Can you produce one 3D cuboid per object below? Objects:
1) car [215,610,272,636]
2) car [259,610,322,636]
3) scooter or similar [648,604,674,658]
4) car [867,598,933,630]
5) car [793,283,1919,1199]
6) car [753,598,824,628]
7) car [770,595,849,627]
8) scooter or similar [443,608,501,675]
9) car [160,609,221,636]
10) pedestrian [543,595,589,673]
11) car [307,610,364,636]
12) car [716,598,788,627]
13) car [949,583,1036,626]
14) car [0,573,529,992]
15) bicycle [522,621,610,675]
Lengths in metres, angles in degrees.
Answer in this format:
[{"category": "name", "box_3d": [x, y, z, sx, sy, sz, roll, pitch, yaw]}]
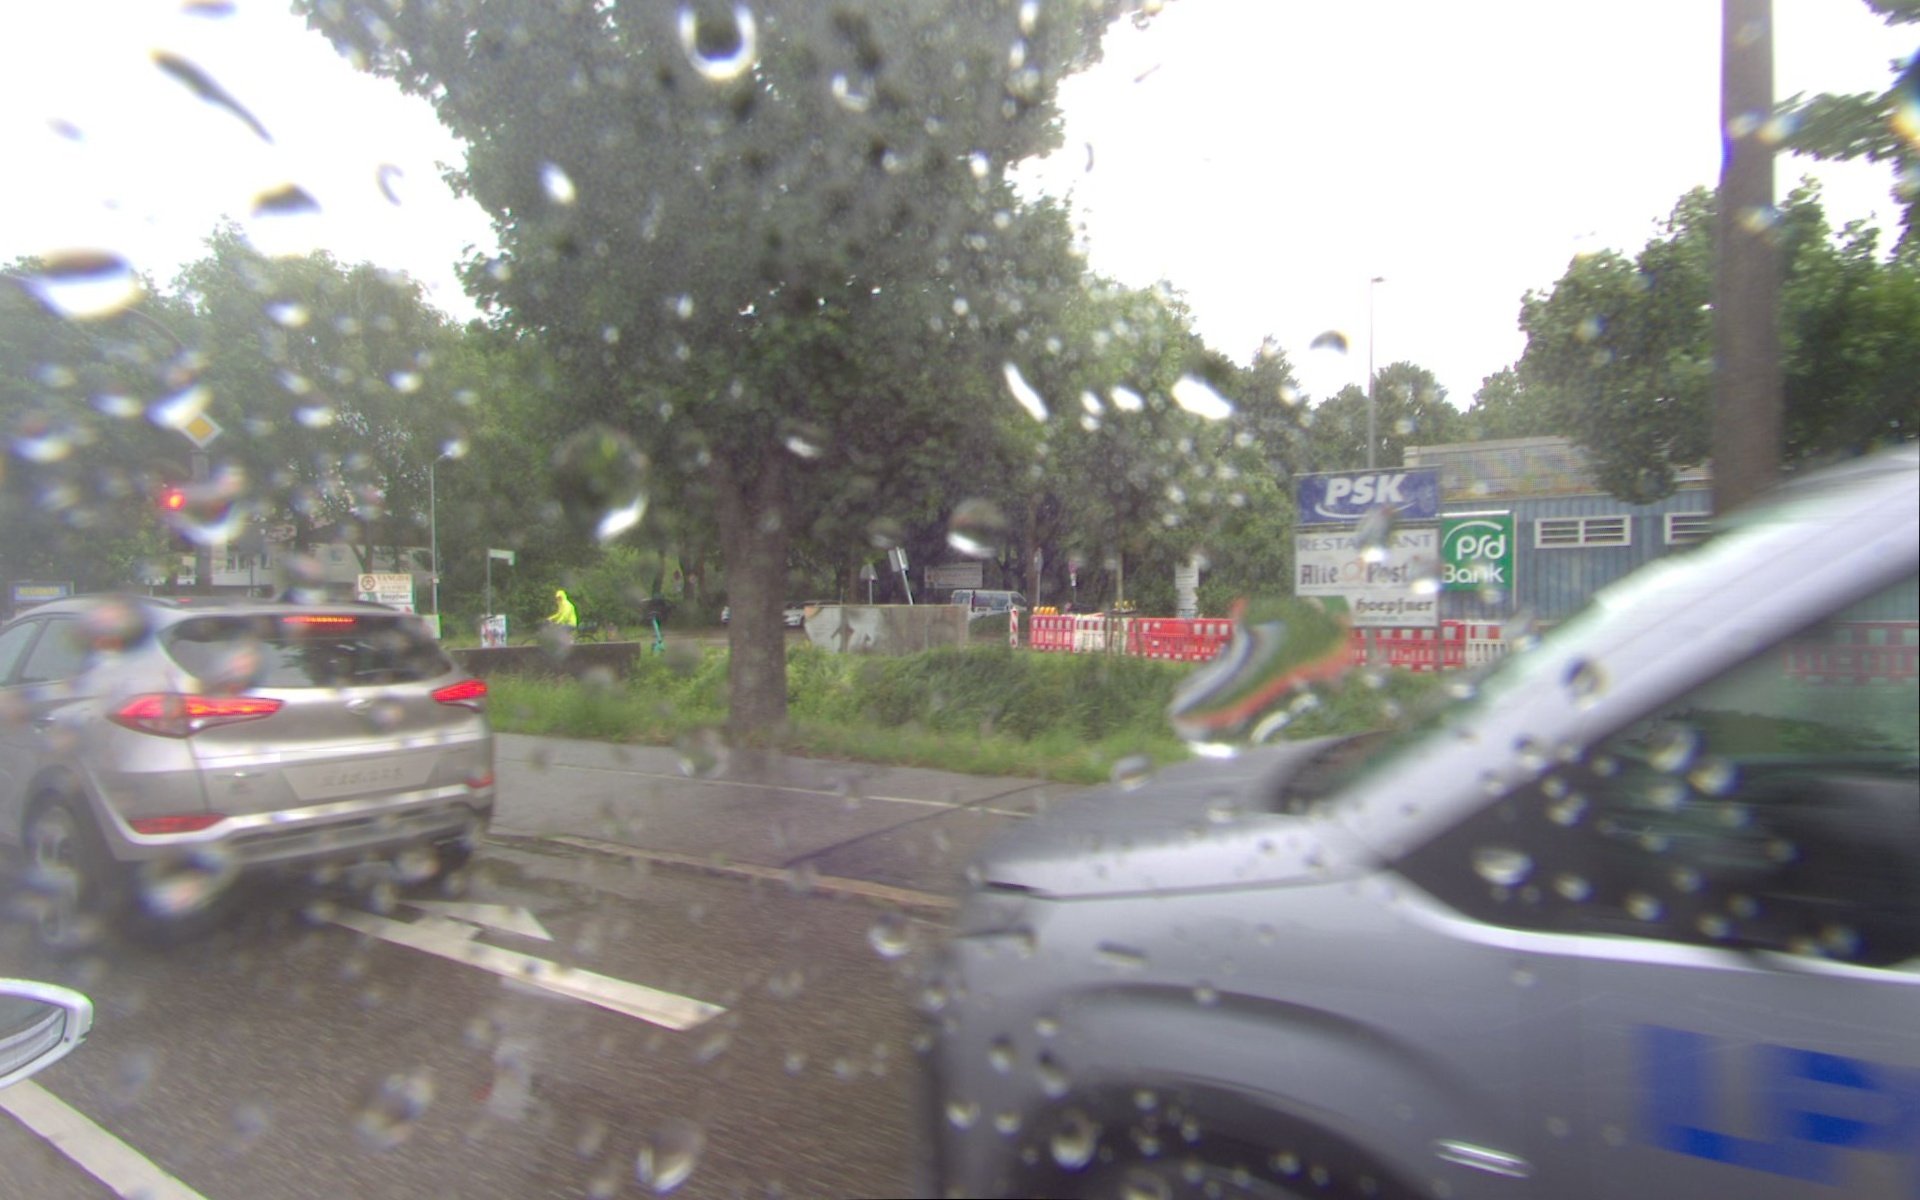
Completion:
[{"category": "car", "box_3d": [-40.913, 1.344, 57.273, 1.641, 1.467, 3.744, 1, -2, -20]}, {"category": "car", "box_3d": [-38.432, 1.358, 57.582, 1.639, 1.467, 3.751, 0, -2, -11]}, {"category": "scooter or similar", "box_3d": [-6.638, 0.686, 22.213, 0.553, 1.192, 0.284, 0, 1, 38]}, {"category": "car", "box_3d": [-3.151, 0.773, 53.127, 1.697, 1.617, 3.649, -1, -2, 34]}, {"category": "car", "box_3d": [2.120, 0.600, 1.474, 4.496, 1.819, 1.990, -1, -1, 32]}, {"category": "car", "box_3d": [-9.866, 0.784, 57.928, 1.893, 1.603, 4.590, -1, -2, 23]}, {"category": "car", "box_3d": [-8.299, 0.639, 55.625, 1.898, 1.651, 4.580, -1, -2, 31]}, {"category": "scooter or similar", "box_3d": [-9.372, 0.784, 19.264, 0.317, 1.246, 0.954, 0, 1, 36]}, {"category": "car", "box_3d": [-43.100, 1.302, 56.179, 1.641, 1.467, 3.744, 1, -2, -20]}, {"category": "pedestrian", "box_3d": [-8.938, 0.752, 22.708, 0.661, 1.702, 0.782, -5, 5, -40]}, {"category": "car", "box_3d": [-36.288, 1.384, 58.263, 1.573, 1.467, 3.751, 0, -2, -11]}, {"category": "car", "box_3d": [-12.255, 0.767, 59.265, 1.893, 1.603, 4.590, -1, -2, 23]}, {"category": "car", "box_3d": [1.655, 0.262, 50.181, 4.146, 1.989, 1.911, 2, -2, -38]}, {"category": "car", "box_3d": [-4.607, 0.777, 5.833, 4.136, 1.631, 1.881, -1, -2, 33]}, {"category": "bicycle", "box_3d": [-8.930, 1.065, 22.737, 1.645, 1.053, 0.782, -5, 4, -41]}]
